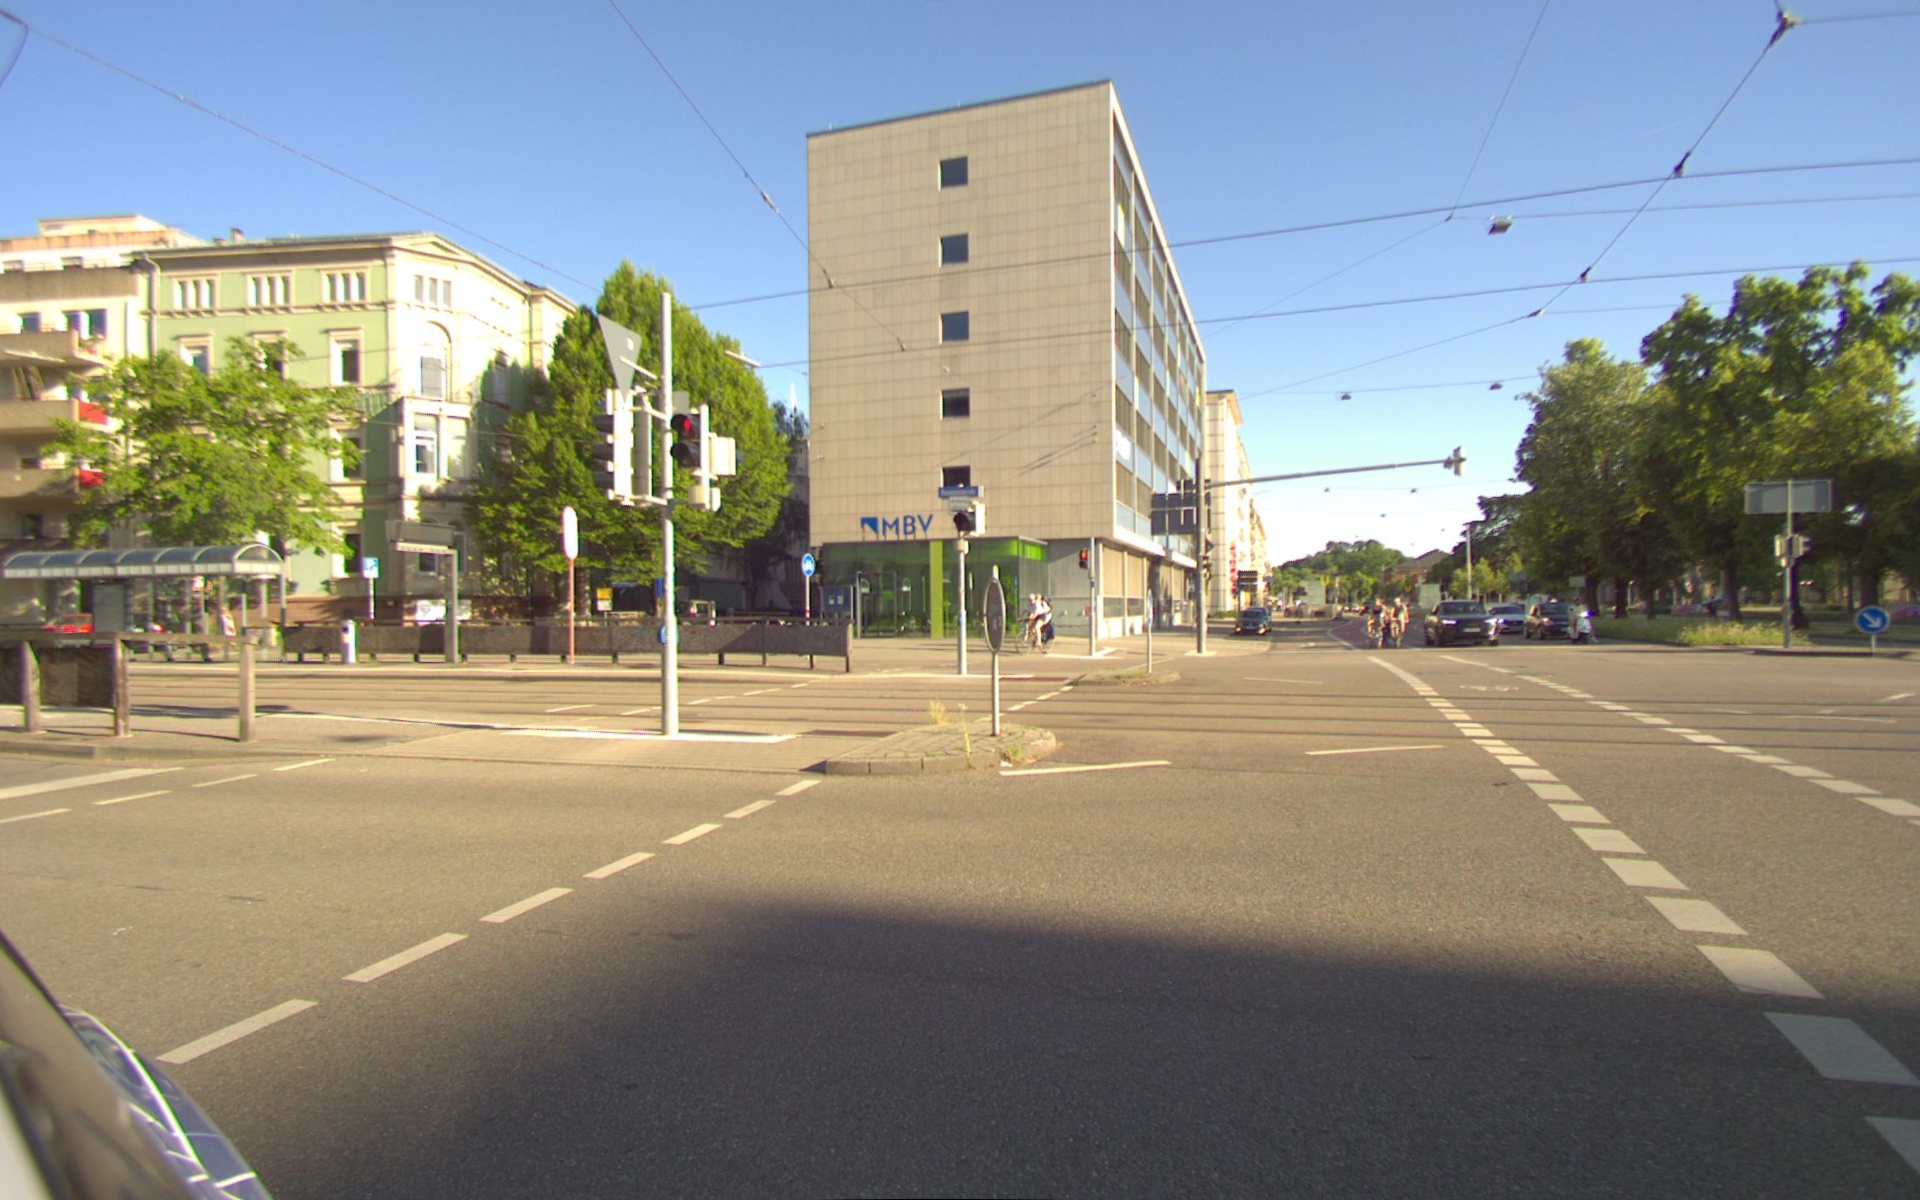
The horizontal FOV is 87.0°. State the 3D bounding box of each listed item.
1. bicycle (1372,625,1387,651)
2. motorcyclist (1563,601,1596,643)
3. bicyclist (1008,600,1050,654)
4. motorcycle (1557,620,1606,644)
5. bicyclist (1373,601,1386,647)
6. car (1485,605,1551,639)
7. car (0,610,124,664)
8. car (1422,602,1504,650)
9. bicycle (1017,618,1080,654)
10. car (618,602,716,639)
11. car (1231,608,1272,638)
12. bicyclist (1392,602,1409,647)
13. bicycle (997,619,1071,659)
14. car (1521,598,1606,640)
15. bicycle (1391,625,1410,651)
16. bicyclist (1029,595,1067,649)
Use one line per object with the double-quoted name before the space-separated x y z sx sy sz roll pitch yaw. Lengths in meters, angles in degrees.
"bicycle" 14.793 1.341 35.702 0.349 0.880 1.376 -1 -1 18
"motorcyclist" 21.582 0.766 35.271 0.596 1.457 0.739 0 -1 -21
"bicyclist" 2.053 0.784 30.179 0.892 1.518 0.891 -1 2 -34
"motorcycle" 21.606 1.112 35.190 0.613 0.801 1.313 0 -1 -21
"bicyclist" 14.786 0.848 35.707 0.355 1.588 0.532 -1 -1 19
"car" 26.868 1.040 48.853 1.984 1.585 4.521 -1 -1 19
"car" -31.105 1.216 34.509 1.718 1.597 3.995 -1 1 4
"car" 17.997 0.908 36.416 1.984 1.585 4.521 -1 -1 19
"bicycle" 2.862 1.143 32.671 1.874 1.075 0.758 0 2 -24
"car" -13.321 0.924 46.076 3.962 1.597 1.733 -1 1 15
"car" 16.499 1.277 57.138 1.984 1.585 4.521 -1 -1 19
"bicyclist" 15.496 0.860 35.612 0.450 1.588 0.532 -1 -1 19
"bicycle" 2.228 1.157 30.303 2.147 1.075 0.886 -1 2 -35
"car" 24.068 0.749 40.525 1.984 1.585 4.521 -1 -1 19
"bicycle" 15.519 1.334 35.665 0.449 0.880 1.376 -1 -1 18
"bicyclist" 2.840 0.697 32.648 0.930 1.703 0.767 0 2 -24
